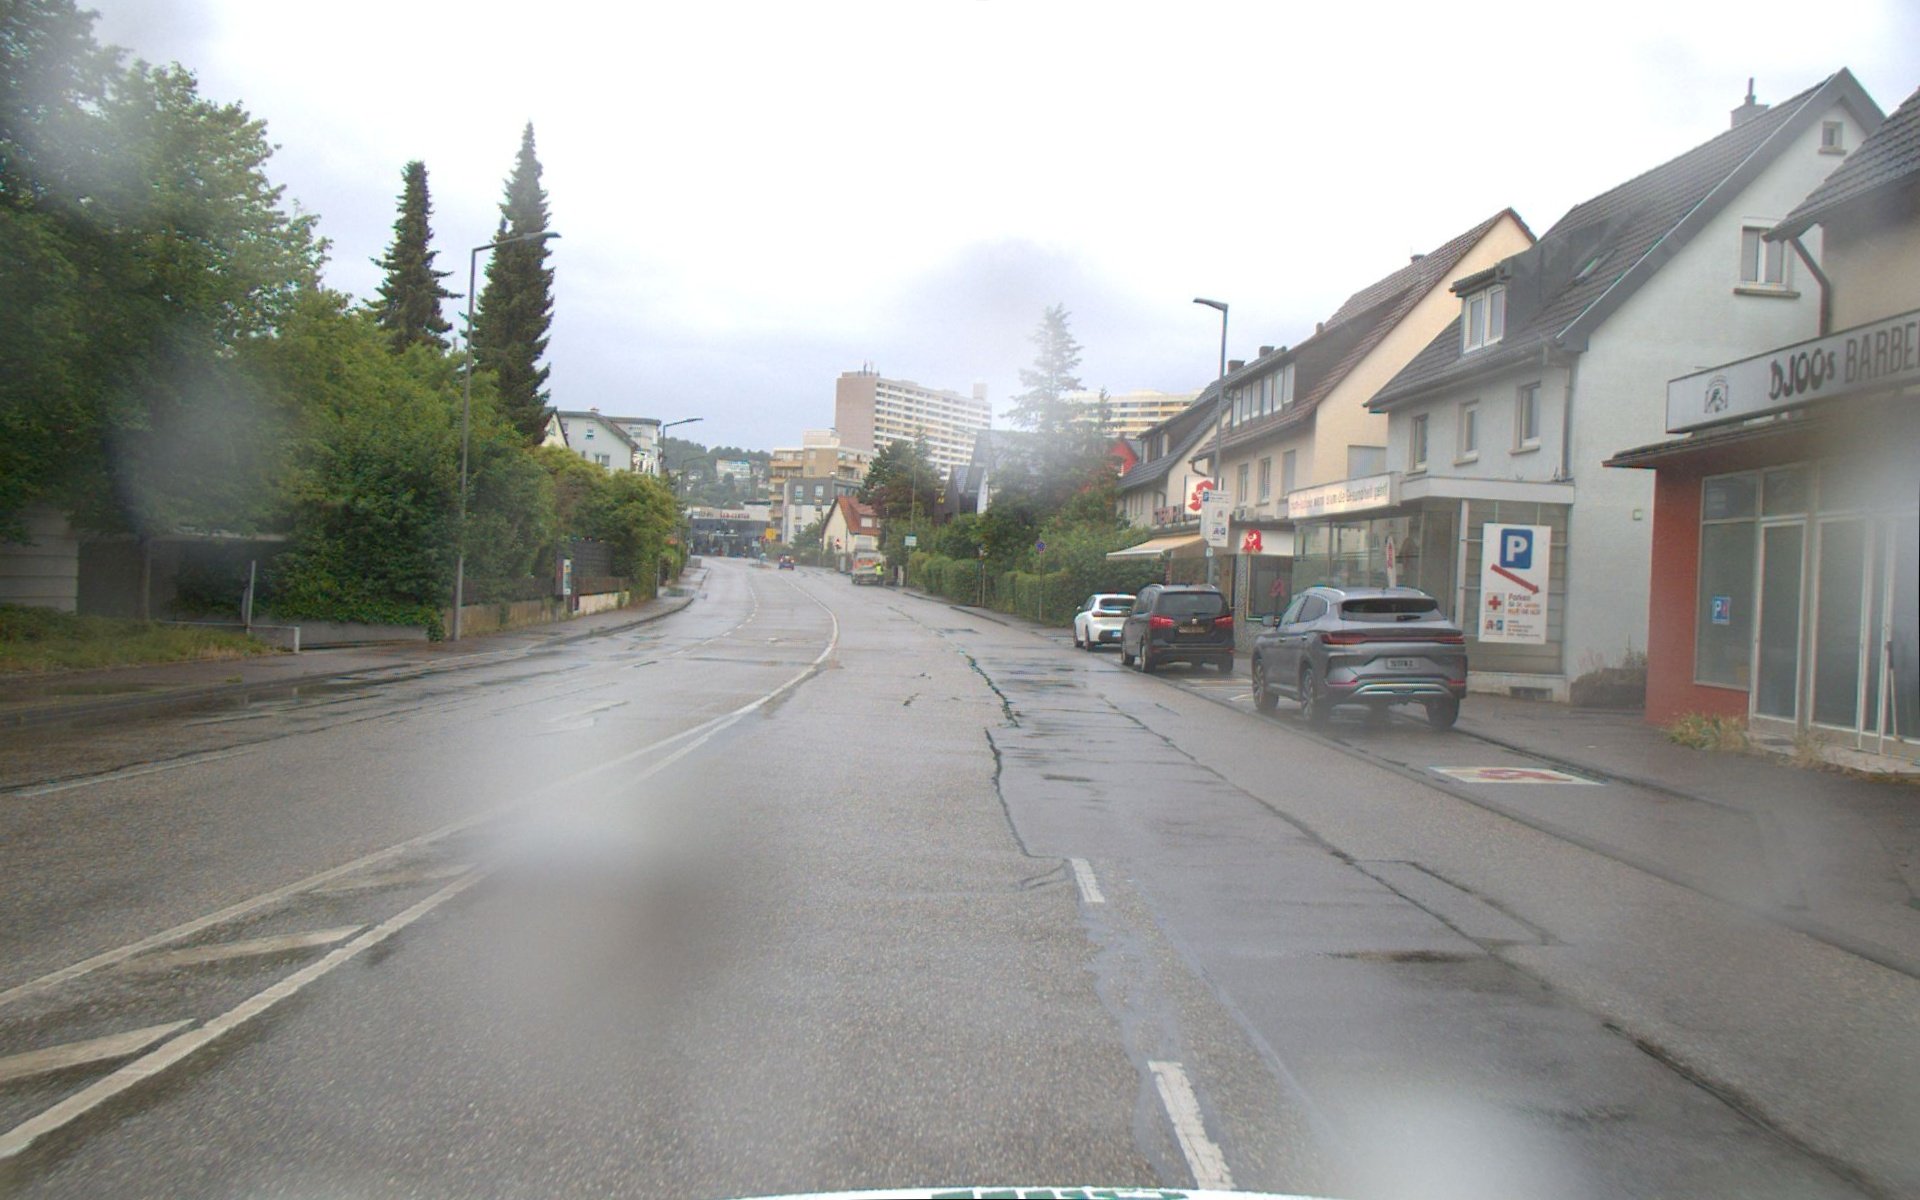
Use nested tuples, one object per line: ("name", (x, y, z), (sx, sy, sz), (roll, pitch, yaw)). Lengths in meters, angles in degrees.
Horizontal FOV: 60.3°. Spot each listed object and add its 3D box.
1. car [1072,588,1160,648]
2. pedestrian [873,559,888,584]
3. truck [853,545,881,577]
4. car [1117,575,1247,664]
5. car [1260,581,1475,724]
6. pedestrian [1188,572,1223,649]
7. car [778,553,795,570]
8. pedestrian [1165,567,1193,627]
("car", (4.129, 0.448, 44.276), (1.779, 1.473, 4.201), (0, 1, -3))
("pedestrian", (-5.761, -2.063, 120.162), (0.813, 1.828, 0.794), (1, 1, -26))
("truck", (-7.015, -2.949, 124.671), (1.954, 2.343, 3.997), (2, 1, -4))
("car", (4.536, 0.388, 34.519), (1.994, 1.725, 4.962), (0, 0, -1))
("car", (5.212, 0.620, 21.793), (1.836, 1.671, 4.794), (0, 0, 2))
("pedestrian", (6.275, 0.263, 42.292), (0.611, 1.924, 0.645), (2, 0, 33))
("car", (-18.777, -4.176, 179.192), (1.760, 1.699, 3.995), (1, 0, -6))
("pedestrian", (6.287, -0.086, 47.446), (0.546, 1.707, 0.509), (2, 0, -40))
